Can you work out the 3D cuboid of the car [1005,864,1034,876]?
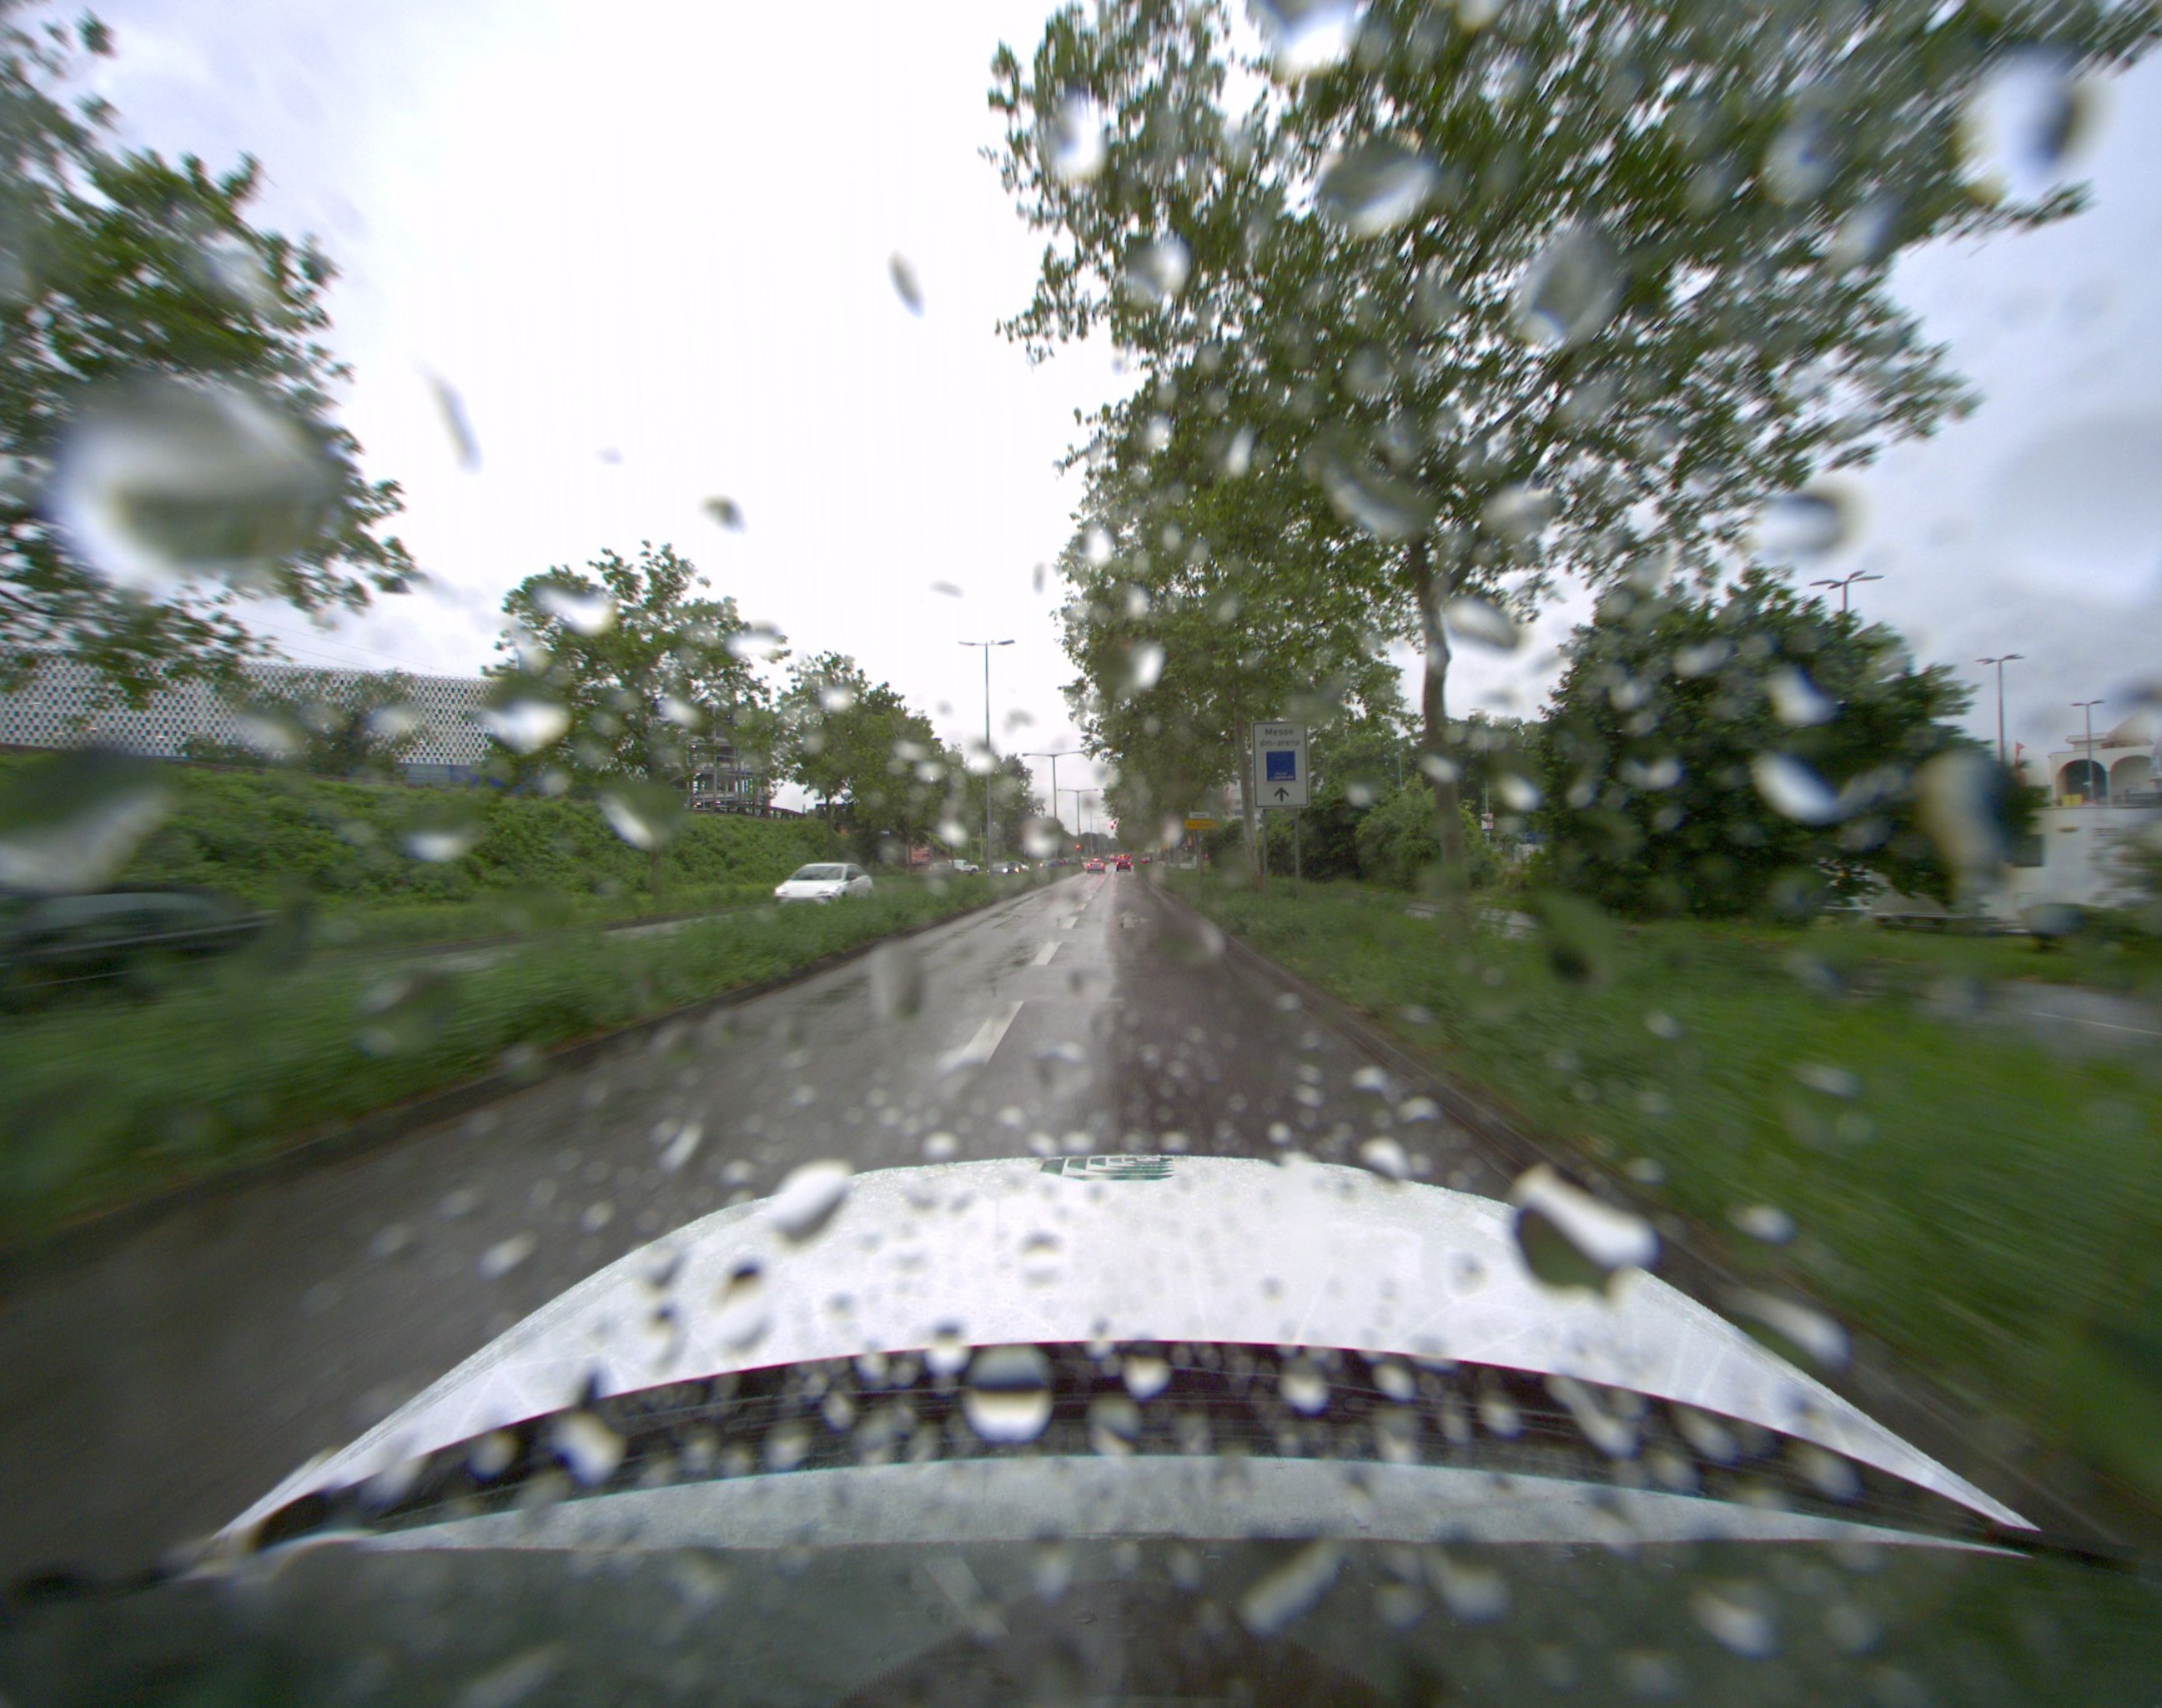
[{"bbox_3d":[-7.283,1.860,96.073,1.940,1.445,4.619,0,-1,-24],"label":"car"}]

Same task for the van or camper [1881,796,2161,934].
[{"bbox_3d":[19.977,0.205,16.425,5.703,2.588,2.000,-1,0,0],"label":"van or camper"}]

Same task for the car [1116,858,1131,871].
[{"bbox_3d":[5.076,1.283,97.158,1.789,1.537,4.390,0,-1,3],"label":"car"}]

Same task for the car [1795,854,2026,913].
[{"bbox_3d":[21.684,0.763,21.449,3.966,1.456,1.881,-1,0,6],"label":"car"}]

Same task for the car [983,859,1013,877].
[{"bbox_3d":[-7.248,1.198,71.542,1.923,1.445,4.499,-1,0,3],"label":"car"}]

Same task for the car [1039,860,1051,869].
[{"bbox_3d":[-6.305,1.885,144.580,1.705,1.530,4.003,-2,-1,3],"label":"car"}]

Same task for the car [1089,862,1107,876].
[{"bbox_3d":[1.754,1.528,84.560,1.683,1.433,4.577,-1,-1,3],"label":"car"}]

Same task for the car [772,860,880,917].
[{"bbox_3d":[-7.294,0.928,23.772,1.695,1.495,4.206,0,0,2],"label":"car"}]

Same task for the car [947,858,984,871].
[{"bbox_3d":[-15.227,1.344,107.397,4.396,1.537,1.786,-1,-1,-26],"label":"car"}]

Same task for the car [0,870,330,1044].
[{"bbox_3d":[-10.030,0.919,7.936,1.625,1.426,4.002,0,0,2],"label":"car"}]

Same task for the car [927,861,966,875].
[{"bbox_3d":[-16.693,1.750,101.023,4.510,1.589,1.854,-2,-1,-14],"label":"car"}]

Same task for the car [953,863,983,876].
[{"bbox_3d":[-16.428,2.230,118.408,3.998,1.846,1.987,1,-1,-19],"label":"car"}]

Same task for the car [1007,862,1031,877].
[{"bbox_3d":[-6.204,1.506,81.823,1.923,1.445,3.710,-1,0,3],"label":"car"}]
